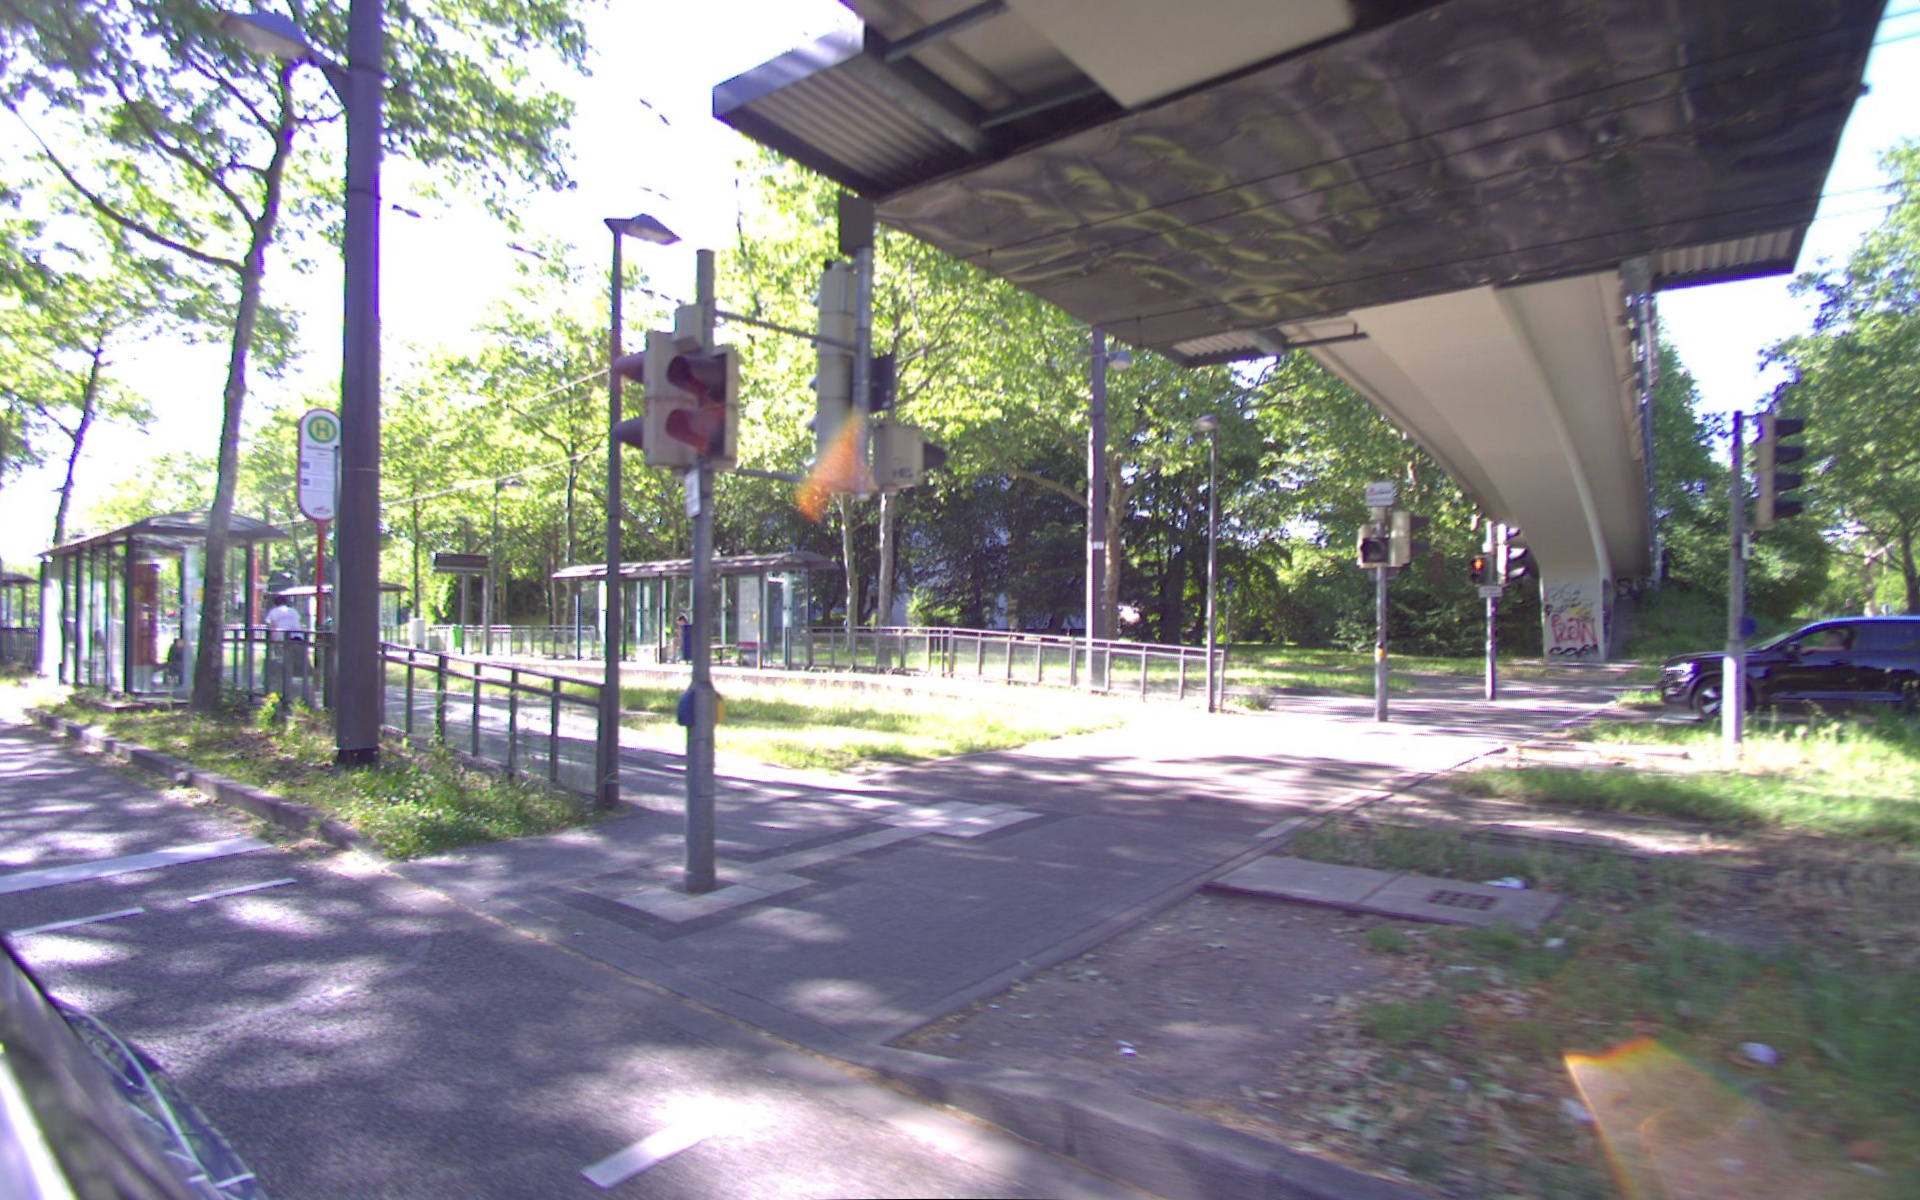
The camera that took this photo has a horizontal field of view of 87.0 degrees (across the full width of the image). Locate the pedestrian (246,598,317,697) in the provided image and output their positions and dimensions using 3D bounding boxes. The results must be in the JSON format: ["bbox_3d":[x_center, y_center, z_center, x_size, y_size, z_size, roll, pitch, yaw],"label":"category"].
[{"bbox_3d":[-10.077,0.686,15.028,0.681,1.428,0.717,-2,-1,41],"label":"pedestrian"}]

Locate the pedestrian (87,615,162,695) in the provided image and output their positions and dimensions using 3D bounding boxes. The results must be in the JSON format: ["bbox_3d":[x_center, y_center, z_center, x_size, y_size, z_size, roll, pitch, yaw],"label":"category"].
[{"bbox_3d":[-13.721,0.876,16.614,0.850,1.252,0.845,-2,-1,43],"label":"pedestrian"}]

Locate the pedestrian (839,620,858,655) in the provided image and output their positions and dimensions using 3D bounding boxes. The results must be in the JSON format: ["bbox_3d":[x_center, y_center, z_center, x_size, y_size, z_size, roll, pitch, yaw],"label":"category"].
[{"bbox_3d":[-5.313,1.769,48.084,0.650,1.674,0.641,-2,-2,42],"label":"pedestrian"}]

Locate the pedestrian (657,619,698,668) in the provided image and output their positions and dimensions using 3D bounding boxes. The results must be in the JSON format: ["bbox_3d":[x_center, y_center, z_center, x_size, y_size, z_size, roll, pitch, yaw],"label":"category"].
[{"bbox_3d":[-7.242,1.104,25.951,0.721,1.247,0.770,-1,-2,40],"label":"pedestrian"}]

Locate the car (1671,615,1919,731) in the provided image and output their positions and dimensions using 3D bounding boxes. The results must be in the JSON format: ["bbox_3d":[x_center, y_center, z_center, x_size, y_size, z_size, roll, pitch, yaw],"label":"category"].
[{"bbox_3d":[13.116,1.018,14.891,4.281,1.578,1.777,-1,-2,37],"label":"car"}]

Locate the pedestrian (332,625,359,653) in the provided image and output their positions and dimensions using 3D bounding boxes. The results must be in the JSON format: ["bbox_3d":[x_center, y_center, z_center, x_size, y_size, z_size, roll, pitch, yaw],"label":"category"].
[{"bbox_3d":[-26.050,1.656,42.901,0.763,1.192,0.758,-2,-4,41],"label":"pedestrian"}]
